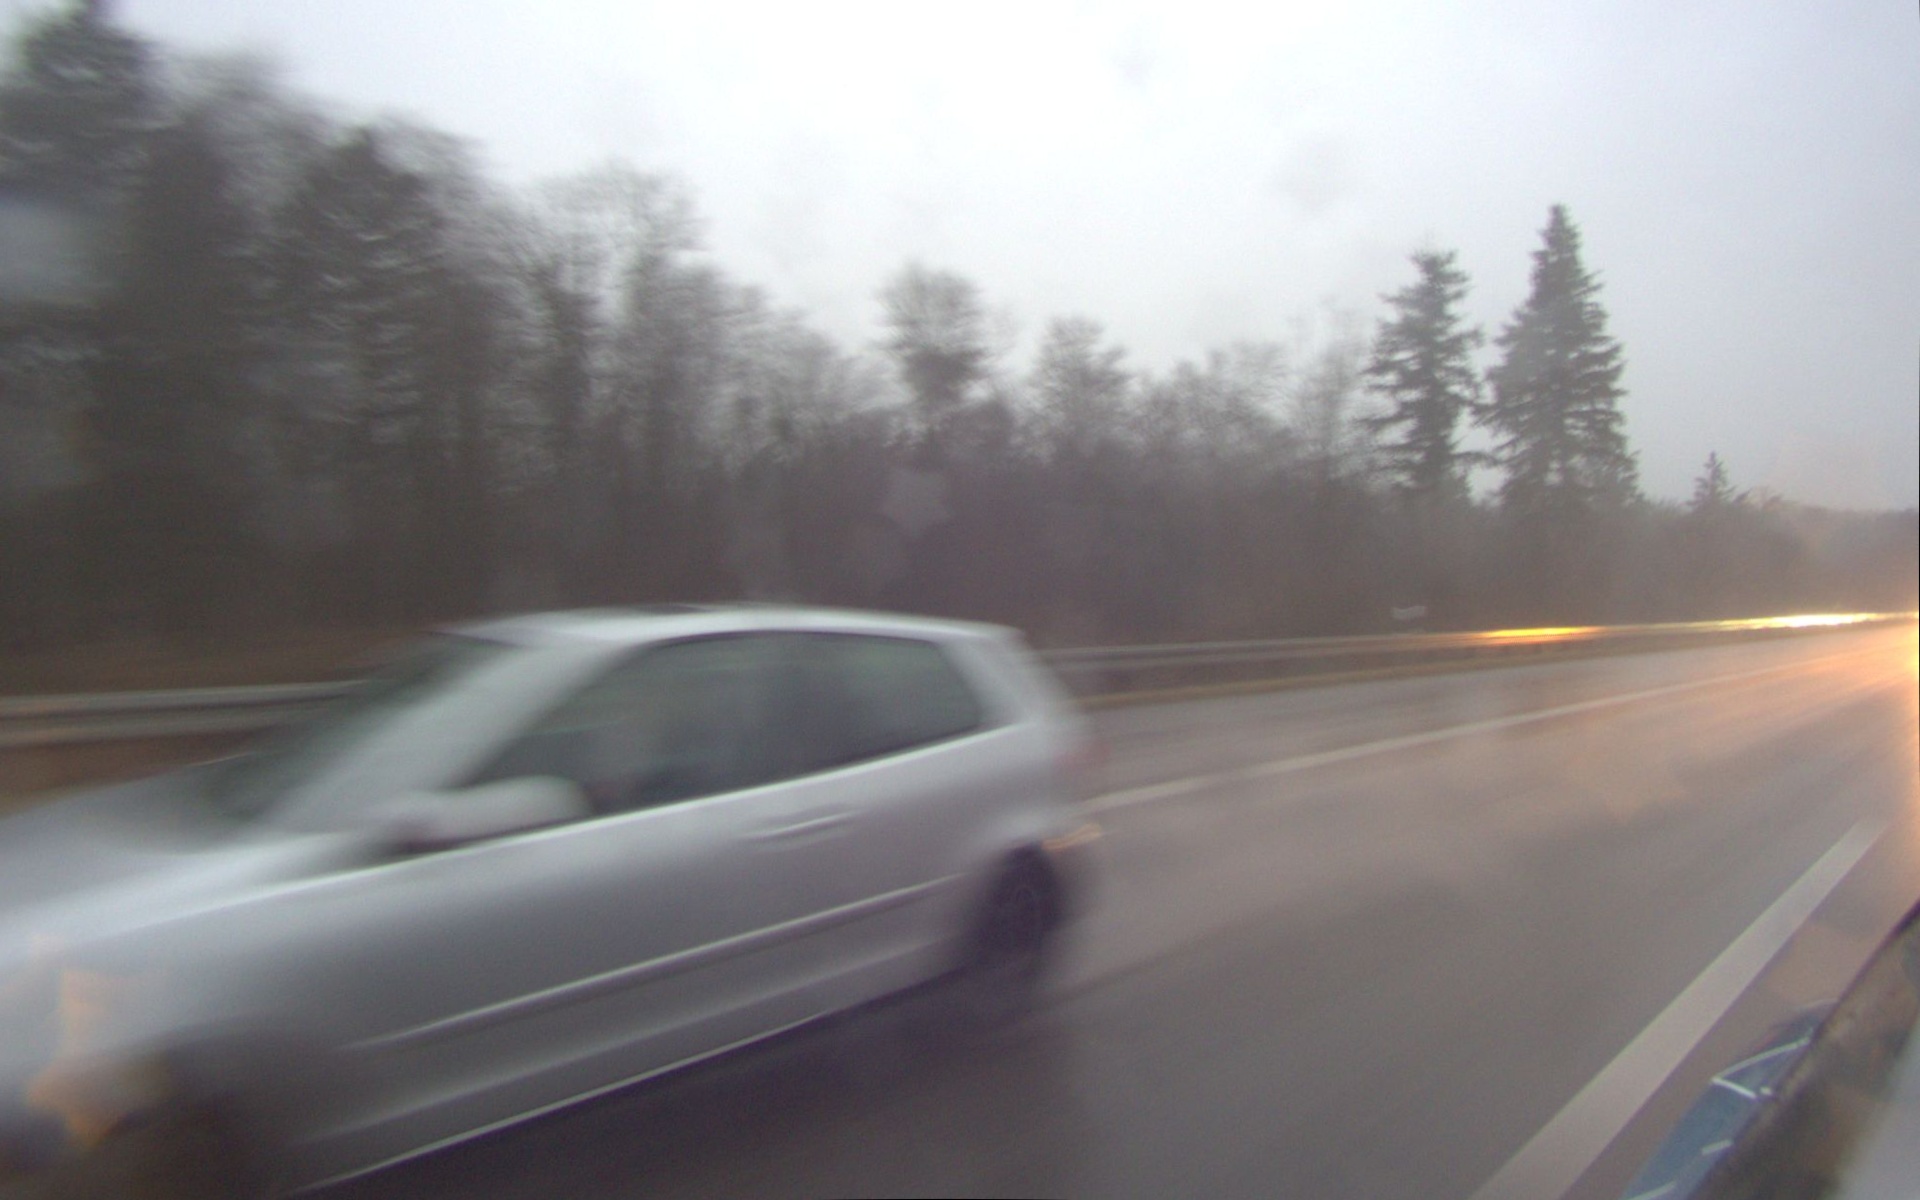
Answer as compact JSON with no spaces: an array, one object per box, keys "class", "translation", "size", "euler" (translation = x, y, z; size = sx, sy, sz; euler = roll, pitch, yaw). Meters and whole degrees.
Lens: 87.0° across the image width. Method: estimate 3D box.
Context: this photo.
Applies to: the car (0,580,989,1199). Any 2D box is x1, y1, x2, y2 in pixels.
[{"class":"car","translation":[-1.654,0.648,2.848],"size":[3.247,1.383,1.602],"euler":[0,1,-41]}]
